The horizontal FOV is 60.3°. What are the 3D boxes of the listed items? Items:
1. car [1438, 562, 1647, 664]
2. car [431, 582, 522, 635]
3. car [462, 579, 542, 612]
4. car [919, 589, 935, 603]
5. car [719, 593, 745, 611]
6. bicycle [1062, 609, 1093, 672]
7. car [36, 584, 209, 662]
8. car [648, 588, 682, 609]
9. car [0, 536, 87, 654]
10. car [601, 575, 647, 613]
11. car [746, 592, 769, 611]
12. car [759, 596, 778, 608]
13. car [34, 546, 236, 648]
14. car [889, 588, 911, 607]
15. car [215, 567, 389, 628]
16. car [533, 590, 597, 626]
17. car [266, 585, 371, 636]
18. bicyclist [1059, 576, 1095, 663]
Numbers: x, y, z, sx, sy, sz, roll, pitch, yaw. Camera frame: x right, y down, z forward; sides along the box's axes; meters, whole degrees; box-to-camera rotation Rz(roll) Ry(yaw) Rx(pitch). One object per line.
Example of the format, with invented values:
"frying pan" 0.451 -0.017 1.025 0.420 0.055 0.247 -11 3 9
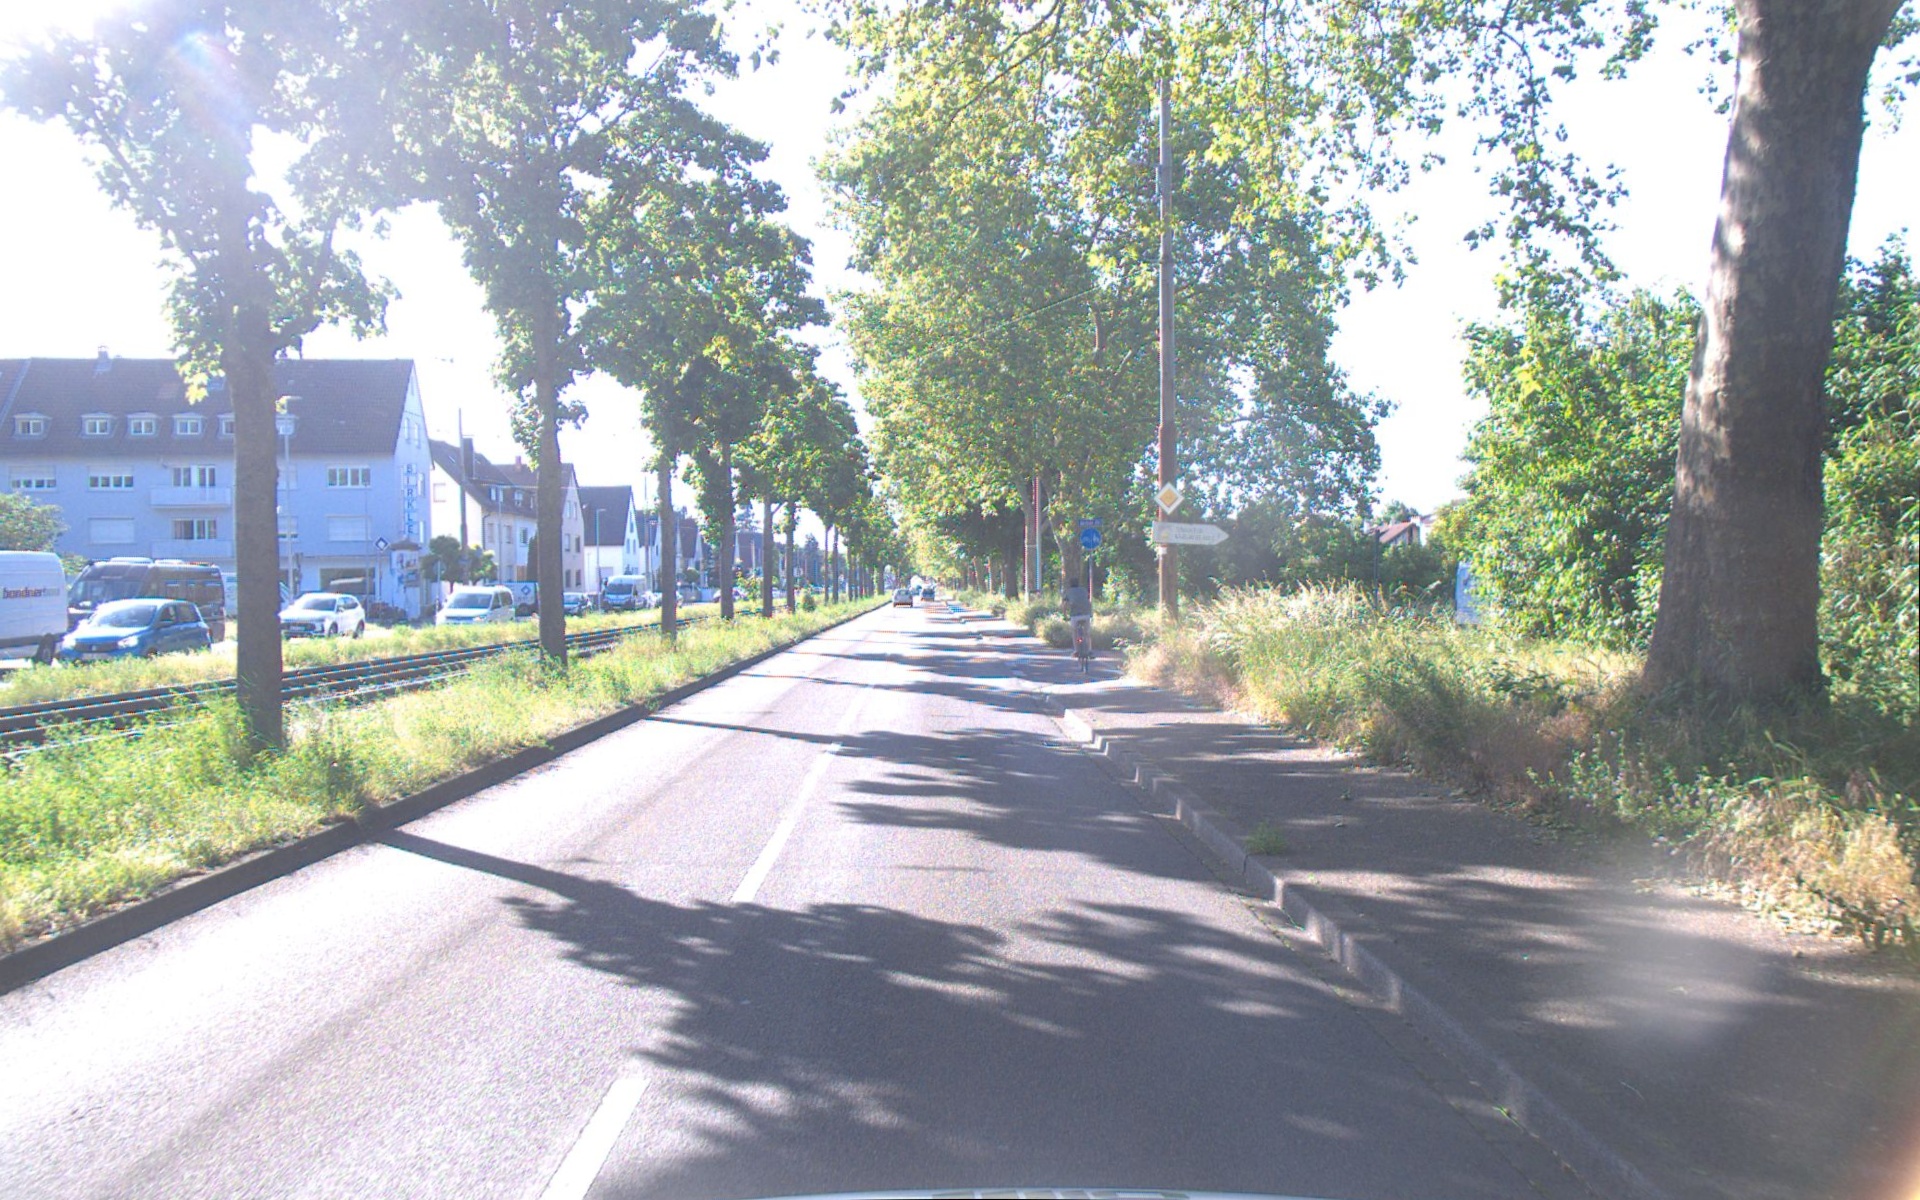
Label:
"car" 15.179 0.347 43.118 4.921 2.481 2.311 2 0 -25
"car" -17.046 0.310 58.556 1.774 1.775 4.980 2 0 -1
"car" -28.060 -0.275 101.520 4.536 1.979 1.994 1 0 -12
"car" -3.781 -0.476 190.763 1.725 1.539 3.276 2 -1 -1
"car" -18.782 0.176 136.383 1.642 1.434 3.999 -1 0 -1
"bicycle" 2.287 0.765 32.275 0.431 1.173 1.822 -1 0 -1
"car" -16.523 0.444 32.830 1.525 1.419 3.819 2 0 -2
"car" -23.986 -0.157 134.704 1.953 1.609 4.497 2 0 -1
"car" -21.522 -0.128 35.909 1.961 2.540 6.135 2 0 -2
"car" -23.317 -0.395 115.013 1.953 2.502 6.672 2 0 -2
"car" -21.641 0.139 177.056 1.876 1.916 4.523 2 -1 0
"car" -26.409 0.277 228.398 1.952 1.627 4.732 2 0 2
"car" -21.553 -0.049 43.608 2.138 2.418 6.463 2 0 -1
"car" -4.750 -0.178 131.375 1.703 1.425 3.275 2 -1 -2
"car" -29.877 -0.095 75.285 6.929 2.551 2.328 1 0 -6
"car" -17.708 0.355 74.215 1.953 1.558 3.751 -1 0 0
"car" -21.915 0.369 56.706 1.786 1.635 4.772 2 0 -1
"bicyclist" 2.272 0.374 32.244 0.601 1.657 0.909 -1 0 -2
